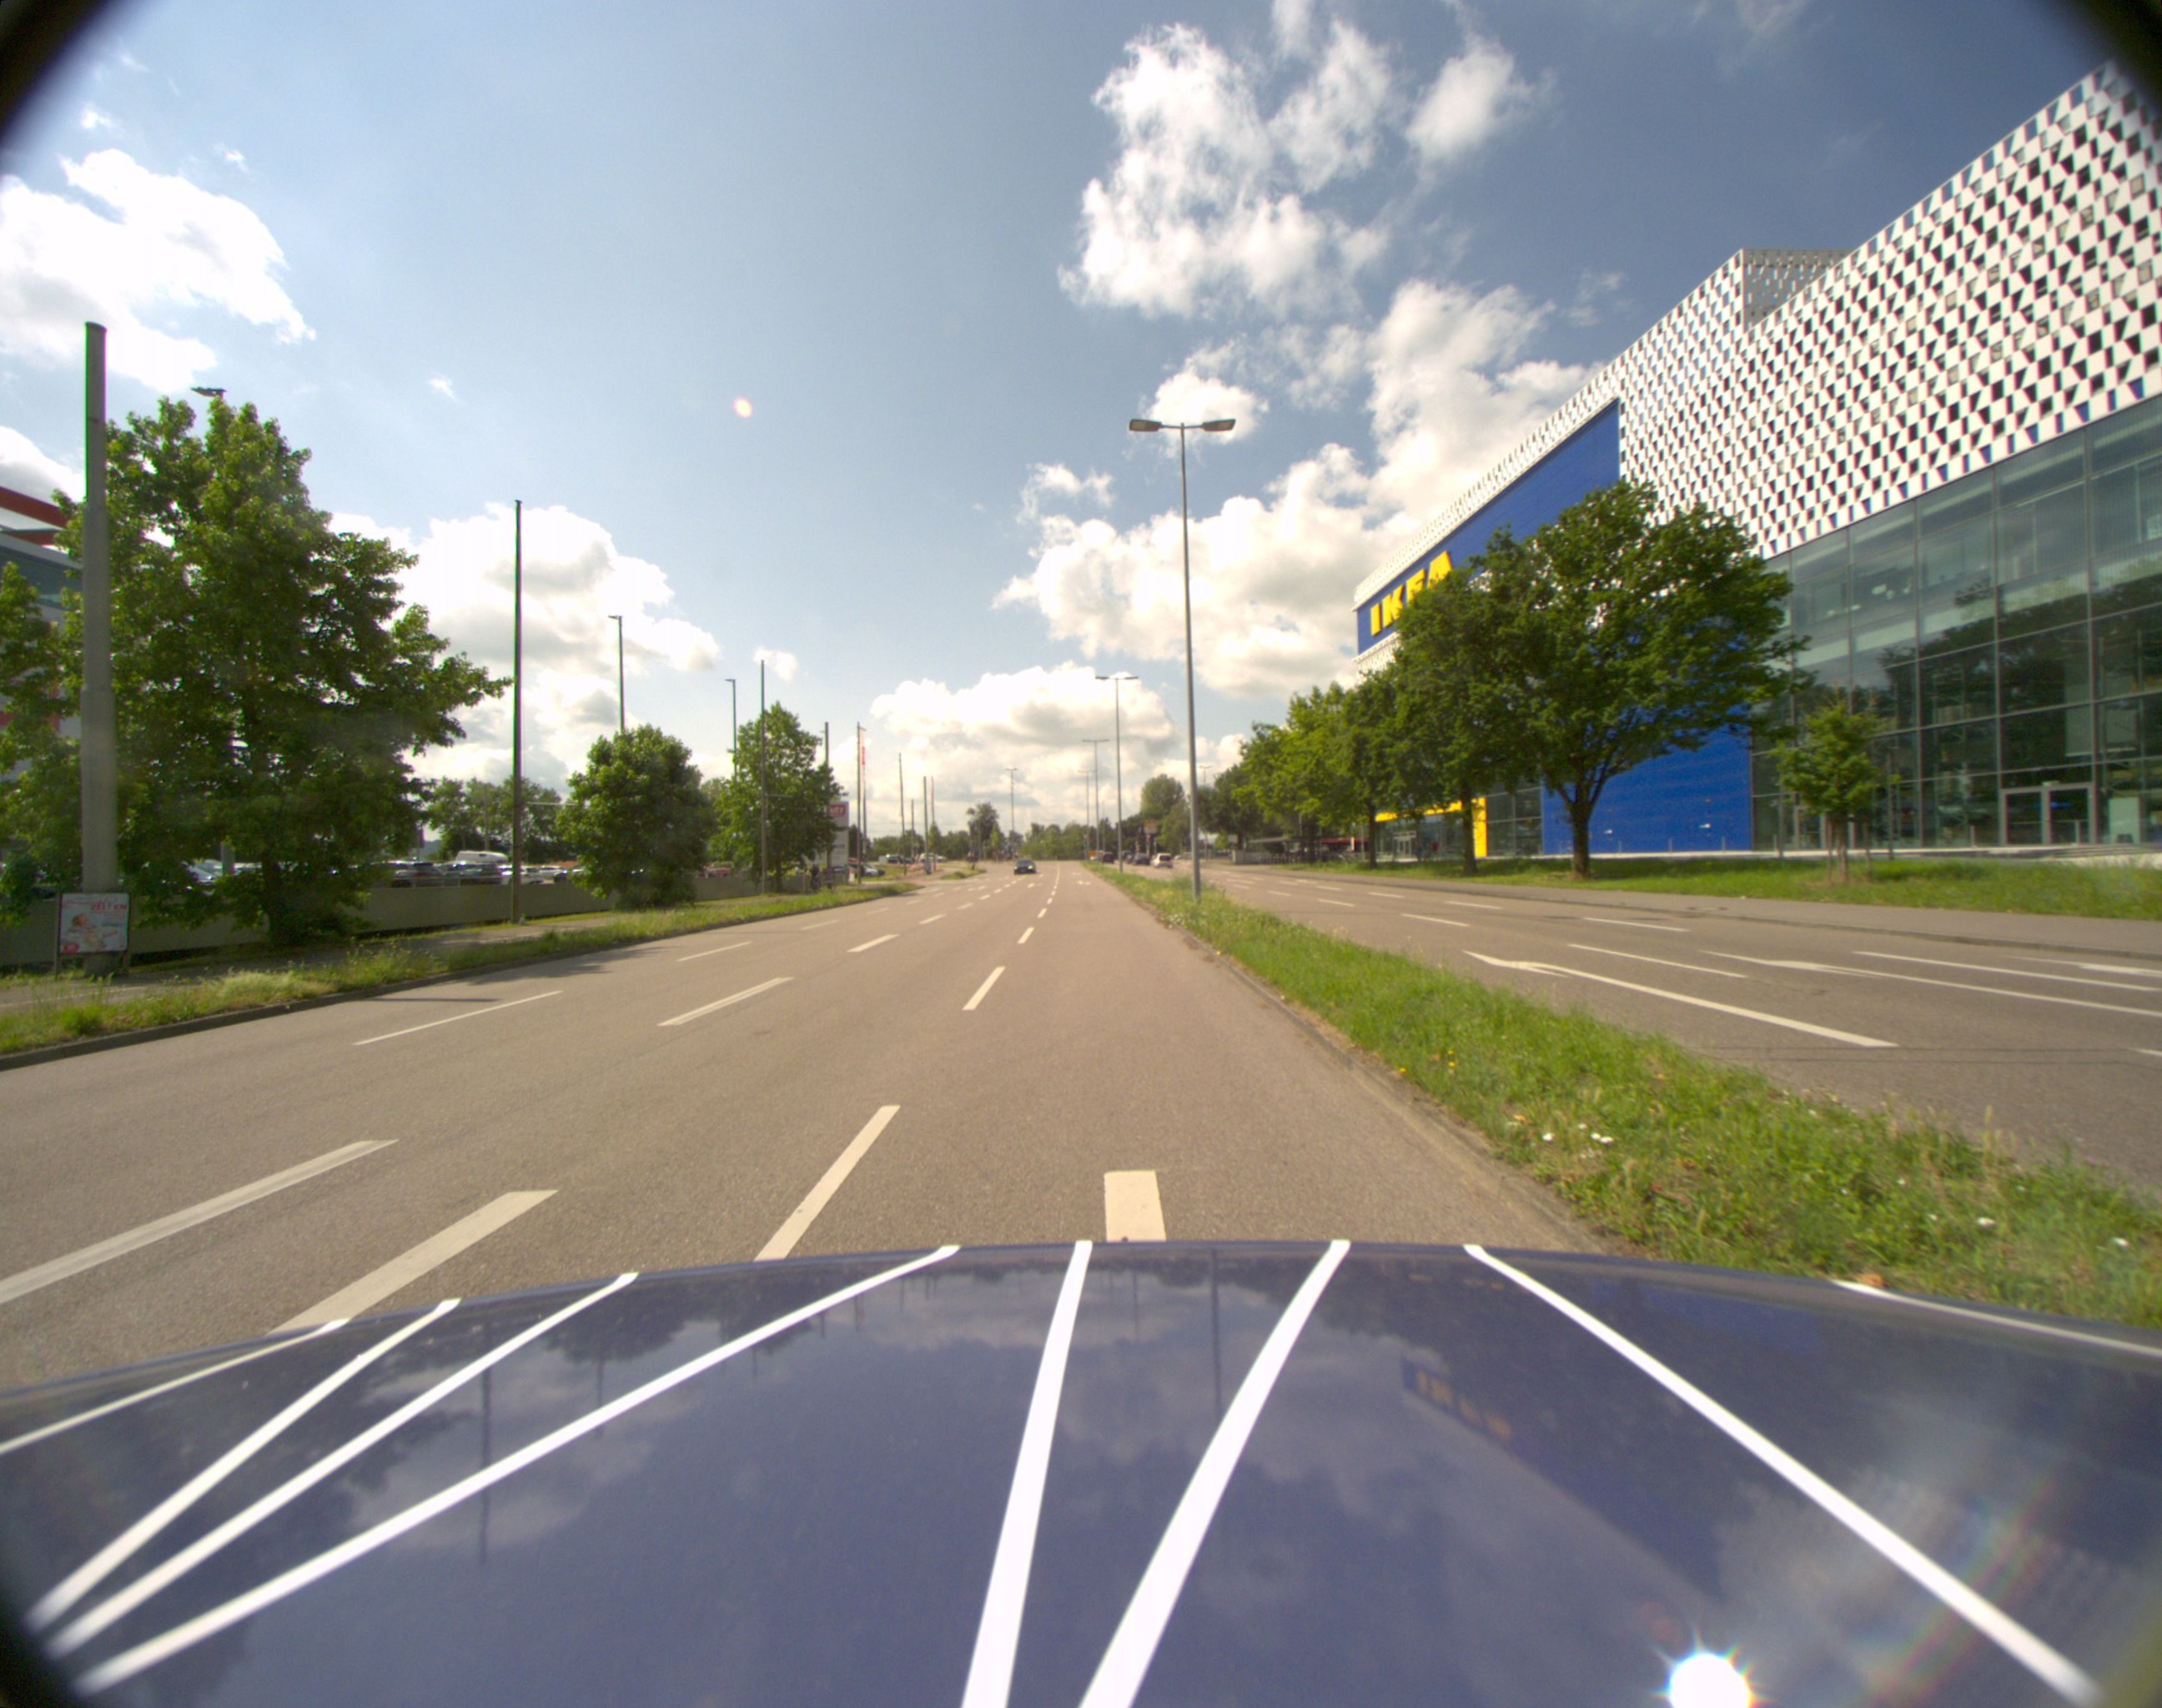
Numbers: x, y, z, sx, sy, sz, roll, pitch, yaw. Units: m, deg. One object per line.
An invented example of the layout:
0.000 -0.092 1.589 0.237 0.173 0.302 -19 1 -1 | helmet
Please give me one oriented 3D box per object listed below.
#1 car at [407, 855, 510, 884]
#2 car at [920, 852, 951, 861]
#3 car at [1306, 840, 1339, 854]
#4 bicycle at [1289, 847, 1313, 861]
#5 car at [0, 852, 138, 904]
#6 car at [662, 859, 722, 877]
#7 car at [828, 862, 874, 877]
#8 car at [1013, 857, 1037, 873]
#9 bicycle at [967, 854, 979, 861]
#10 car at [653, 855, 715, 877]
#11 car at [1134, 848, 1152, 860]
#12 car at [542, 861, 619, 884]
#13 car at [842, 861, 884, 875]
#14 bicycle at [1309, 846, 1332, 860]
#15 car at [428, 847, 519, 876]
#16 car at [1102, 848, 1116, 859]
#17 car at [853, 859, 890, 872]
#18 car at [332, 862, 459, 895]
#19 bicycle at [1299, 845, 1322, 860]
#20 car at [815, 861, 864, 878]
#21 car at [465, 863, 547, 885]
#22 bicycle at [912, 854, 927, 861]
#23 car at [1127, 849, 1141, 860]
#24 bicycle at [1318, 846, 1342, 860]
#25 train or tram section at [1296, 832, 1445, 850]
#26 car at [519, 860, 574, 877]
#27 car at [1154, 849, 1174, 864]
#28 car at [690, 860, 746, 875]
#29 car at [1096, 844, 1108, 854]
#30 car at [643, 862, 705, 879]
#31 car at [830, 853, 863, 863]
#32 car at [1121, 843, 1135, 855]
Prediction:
-34.654 0.867 42.364 4.194 1.543 1.764 0 0 -2 | car
-22.890 0.389 119.745 4.495 1.405 2.013 -1 0 -4 | car
39.911 -1.161 125.580 4.821 2.002 1.999 -2 0 -4 | car
19.792 0.003 68.367 1.930 1.176 0.629 -2 0 -1 | bicycle
-34.544 0.809 25.120 3.998 1.562 1.999 -2 1 -3 | car
-34.255 1.227 66.991 4.369 1.499 1.682 0 0 1 | car
-24.840 1.634 82.274 4.370 1.408 1.856 -2 1 -1 | car
-5.307 1.013 71.978 1.797 1.311 4.163 -3 0 2 | car
-15.929 0.559 111.706 0.664 0.955 1.699 -2 0 43 | bicycle
-31.662 0.971 60.647 4.026 1.578 1.695 -2 -1 -2 | car
7.436 -0.009 91.057 1.668 1.413 4.517 0 1 -2 | car
-34.341 1.234 52.194 4.065 1.522 1.741 0 1 -5 | car
-25.110 1.639 87.579 4.370 1.431 1.796 -2 1 -1 | car
21.919 -0.105 69.525 1.930 1.172 0.629 -2 0 -1 | bicycle
-69.430 0.819 86.910 7.898 3.136 3.122 -1 1 2 | car
3.734 -0.084 102.105 1.608 1.485 4.131 0 1 -2 | car
-25.332 1.412 92.163 3.998 1.410 1.715 -1 1 -3 | car
-33.881 1.186 37.669 4.371 1.565 2.030 0 0 -2 | car
21.819 -0.137 72.305 1.930 1.265 0.629 -2 0 -1 | bicycle
-24.613 1.576 77.533 4.369 1.468 1.857 -2 1 1 | car
-39.591 1.401 52.353 4.300 1.419 1.759 -1 -2 -1 | car
-22.820 0.499 107.147 1.989 0.955 0.596 -2 0 -19 | bicycle
6.943 0.015 100.126 1.415 1.383 4.095 1 1 -1 | car
22.128 -0.108 67.508 1.930 1.177 0.629 -2 0 -1 | bicycle
51.519 -2.278 135.548 25.116 3.014 4.529 0 0 -3 | train or tram section
-50.711 1.406 72.138 3.997 1.443 1.668 -2 0 0 | car
8.406 0.233 77.082 1.647 1.420 3.670 0 0 0 | car
-34.196 1.256 71.639 4.369 1.354 1.847 0 -1 1 | car
3.243 -0.800 118.483 1.712 1.610 4.376 0 1 -2 | car
-34.505 1.373 64.508 4.369 1.433 1.627 0 -1 1 | car
-34.596 0.608 112.155 4.248 1.352 1.748 -1 1 -5 | car
7.019 -0.790 114.216 1.775 1.606 3.998 1 2 -2 | car
